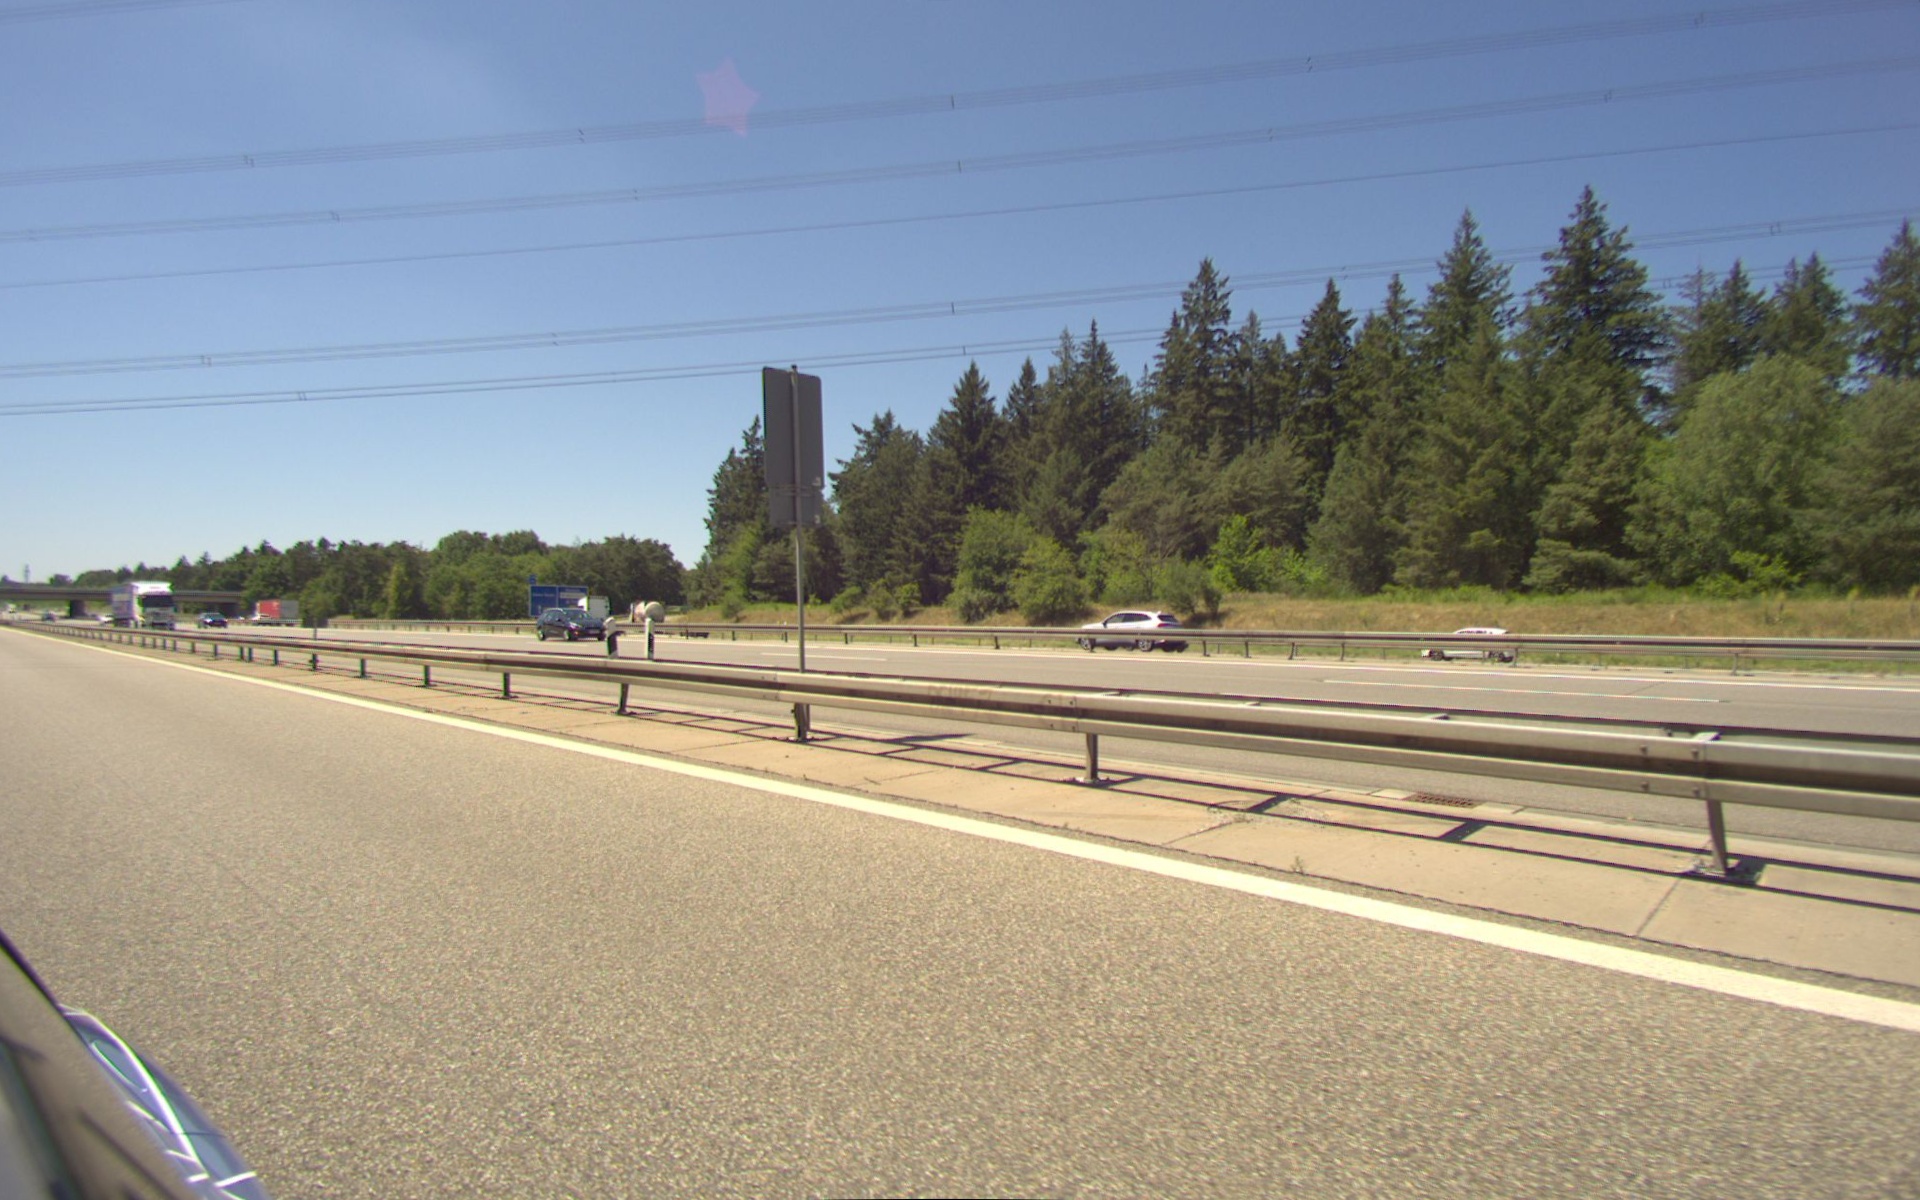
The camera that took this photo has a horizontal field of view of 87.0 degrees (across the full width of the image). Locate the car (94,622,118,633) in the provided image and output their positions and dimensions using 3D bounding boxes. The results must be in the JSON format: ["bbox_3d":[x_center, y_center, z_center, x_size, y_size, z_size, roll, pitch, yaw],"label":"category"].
[{"bbox_3d":[-117.923,3.805,139.731,3.998,1.580,1.972,-1,-1,41],"label":"car"}]

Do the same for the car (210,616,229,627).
[{"bbox_3d":[-125.853,3.653,171.981,4.827,1.696,1.894,1,0,44],"label":"car"}]

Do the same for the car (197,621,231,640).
[{"bbox_3d":[-70.451,2.835,95.573,4.002,1.730,1.971,-1,-1,45],"label":"car"}]

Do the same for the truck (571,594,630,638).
[{"bbox_3d":[-36.750,1.560,103.342,2.826,4.378,7.536,1,0,-44],"label":"truck"}]

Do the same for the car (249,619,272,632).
[{"bbox_3d":[-101.491,3.692,146.839,4.827,1.696,1.752,1,0,44],"label":"car"}]

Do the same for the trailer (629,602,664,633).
[{"bbox_3d":[-39.597,2.237,127.582,2.733,3.827,8.965,0,-2,-26],"label":"trailer"}]

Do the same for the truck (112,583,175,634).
[{"bbox_3d":[-68.704,0.770,85.028,11.049,4.089,2.673,-1,-2,44],"label":"truck"}]

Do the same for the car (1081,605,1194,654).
[{"bbox_3d":[6.994,1.119,40.020,4.000,1.796,1.972,0,-1,42],"label":"car"}]

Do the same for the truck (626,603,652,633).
[{"bbox_3d":[-42.195,2.383,132.890,2.728,3.826,4.013,0,-2,-26],"label":"truck"}]

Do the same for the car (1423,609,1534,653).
[{"bbox_3d":[22.723,1.320,44.410,4.000,1.796,1.972,0,-1,42],"label":"car"}]

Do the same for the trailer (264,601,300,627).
[{"bbox_3d":[-106.390,2.292,158.680,2.511,3.826,13.754,1,-2,-43],"label":"trailer"}]

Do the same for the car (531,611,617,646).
[{"bbox_3d":[-17.515,1.254,45.839,4.241,1.487,1.972,-1,-1,42],"label":"car"}]
